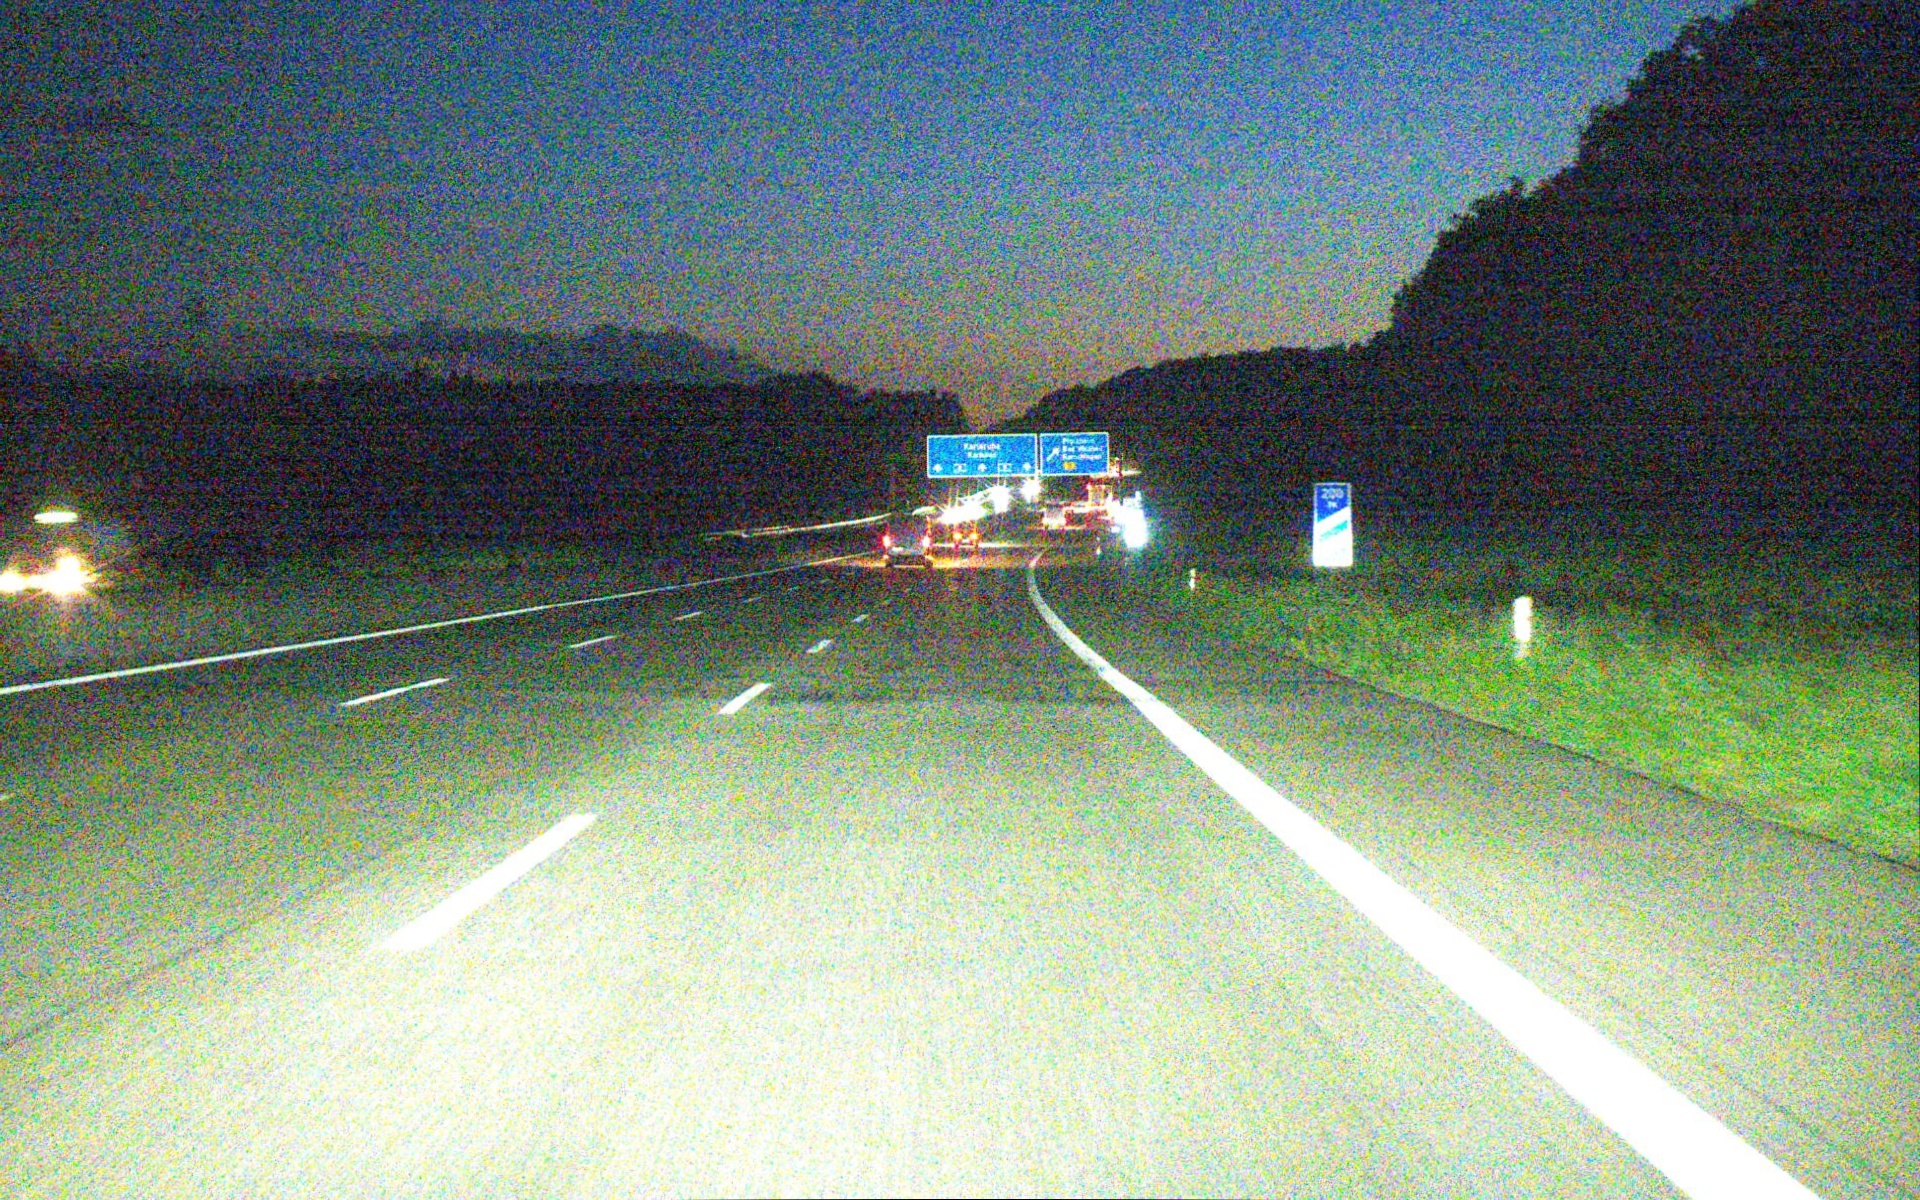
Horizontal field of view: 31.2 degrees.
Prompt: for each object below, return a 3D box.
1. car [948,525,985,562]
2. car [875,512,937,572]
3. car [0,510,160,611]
[{"bbox_3d":[0.508,-4.308,262.574,2.786,2.724,6.299,0,1,0],"label":"car"},{"bbox_3d":[-2.493,-2.652,158.508,2.786,2.724,6.299,0,1,-1],"label":"car"},{"bbox_3d":[-22.605,-1.000,88.102,2.391,2.444,6.670,1,0,2],"label":"car"}]
